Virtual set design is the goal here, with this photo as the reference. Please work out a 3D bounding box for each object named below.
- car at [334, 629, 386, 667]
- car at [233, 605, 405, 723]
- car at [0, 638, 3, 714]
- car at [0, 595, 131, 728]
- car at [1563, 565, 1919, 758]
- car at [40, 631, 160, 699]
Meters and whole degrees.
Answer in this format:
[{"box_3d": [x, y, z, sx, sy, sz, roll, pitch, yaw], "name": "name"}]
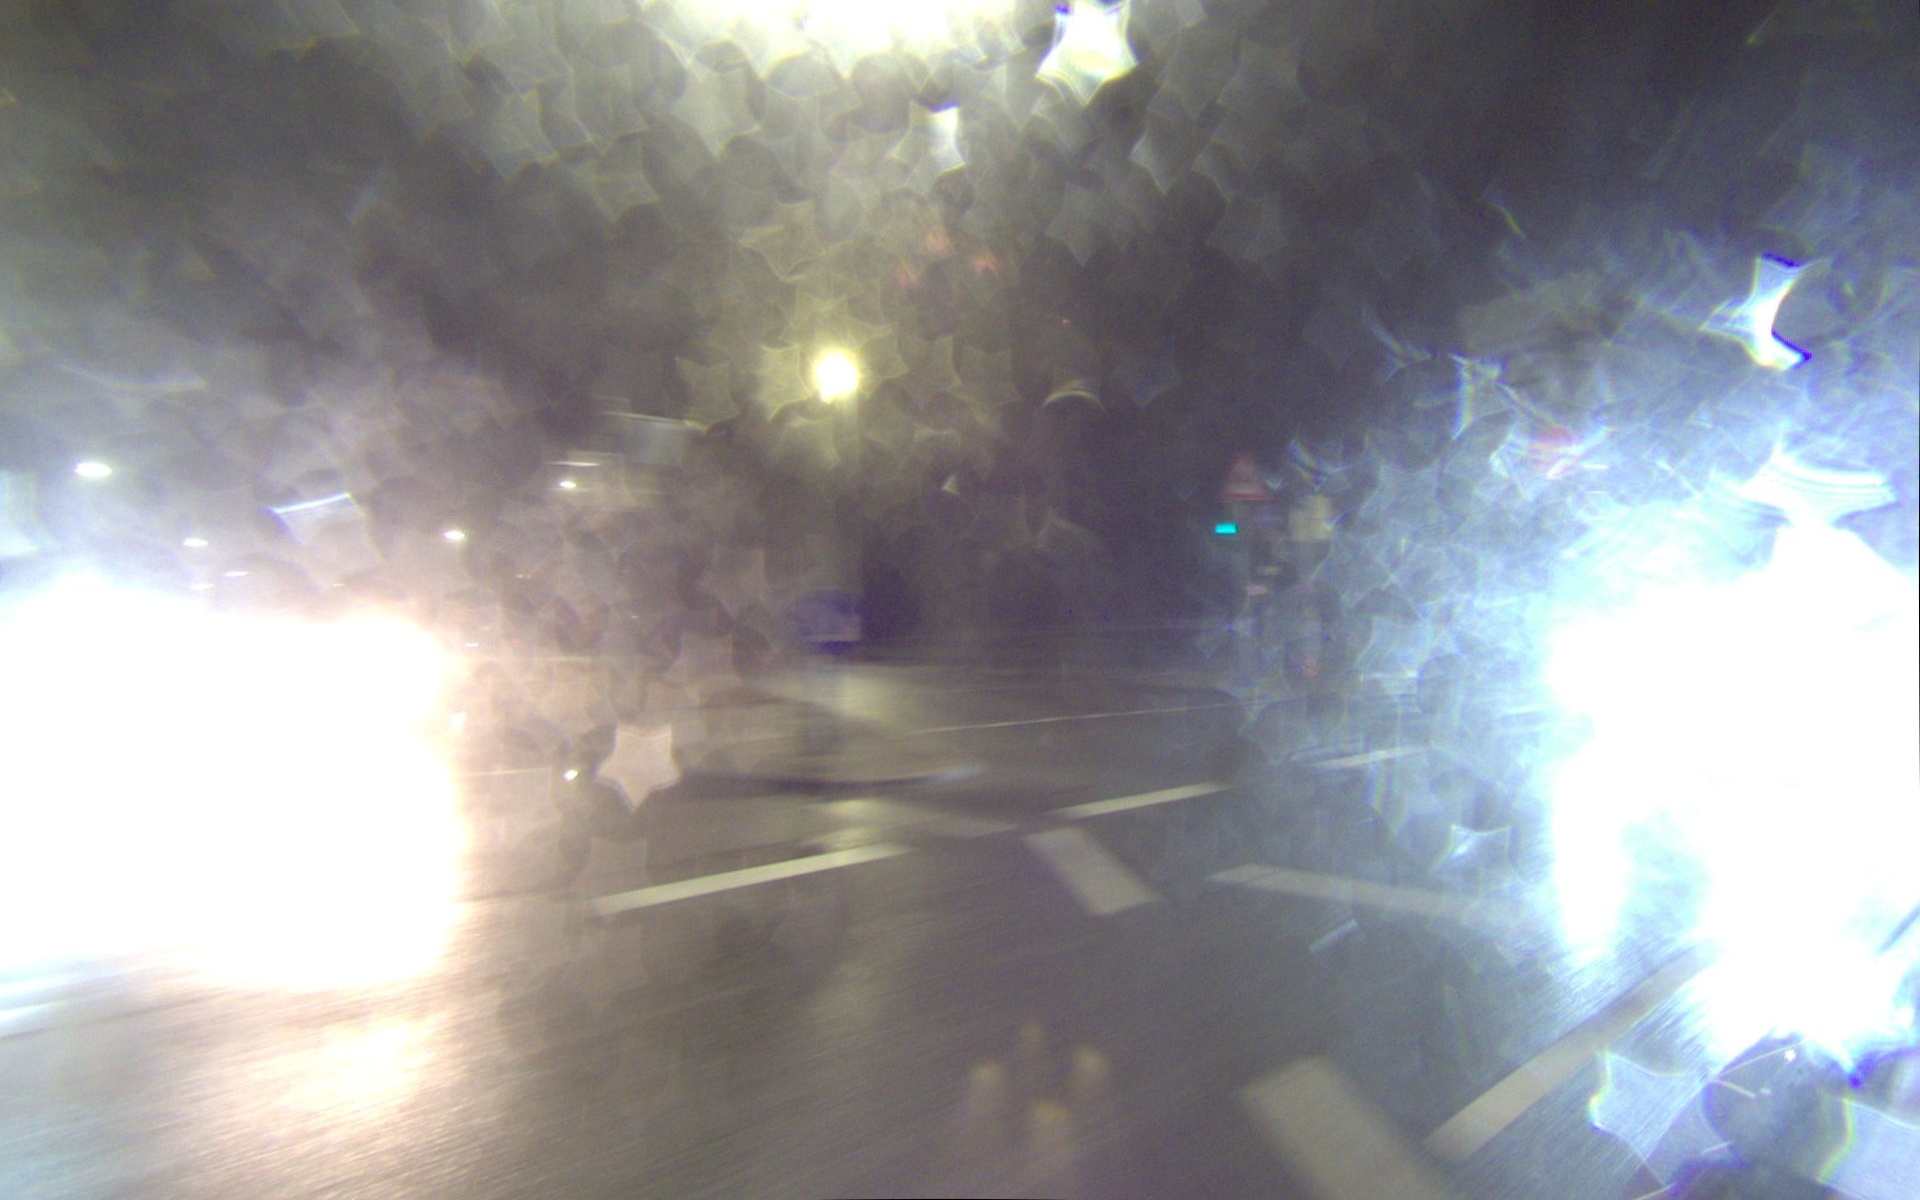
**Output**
[{"box_3d": [-24.346, 1.906, 41.086, 1.712, 1.363, 3.913, 1, -1, -31], "name": "car"}, {"box_3d": [-8.590, 0.754, 13.854, 1.712, 1.363, 4.060, 1, -1, -29], "name": "car"}, {"box_3d": [-19.366, 1.532, 18.410, 1.819, 1.538, 4.182, 1, -1, -29], "name": "car"}, {"box_3d": [-12.704, 0.714, 13.415, 1.819, 1.538, 4.502, 1, -1, -29], "name": "car"}, {"box_3d": [7.969, 0.483, 9.908, 4.470, 1.525, 1.679, 0, 0, -32], "name": "car"}, {"box_3d": [-24.716, 1.797, 29.246, 1.789, 1.661, 4.005, 1, 0, -28], "name": "car"}]
